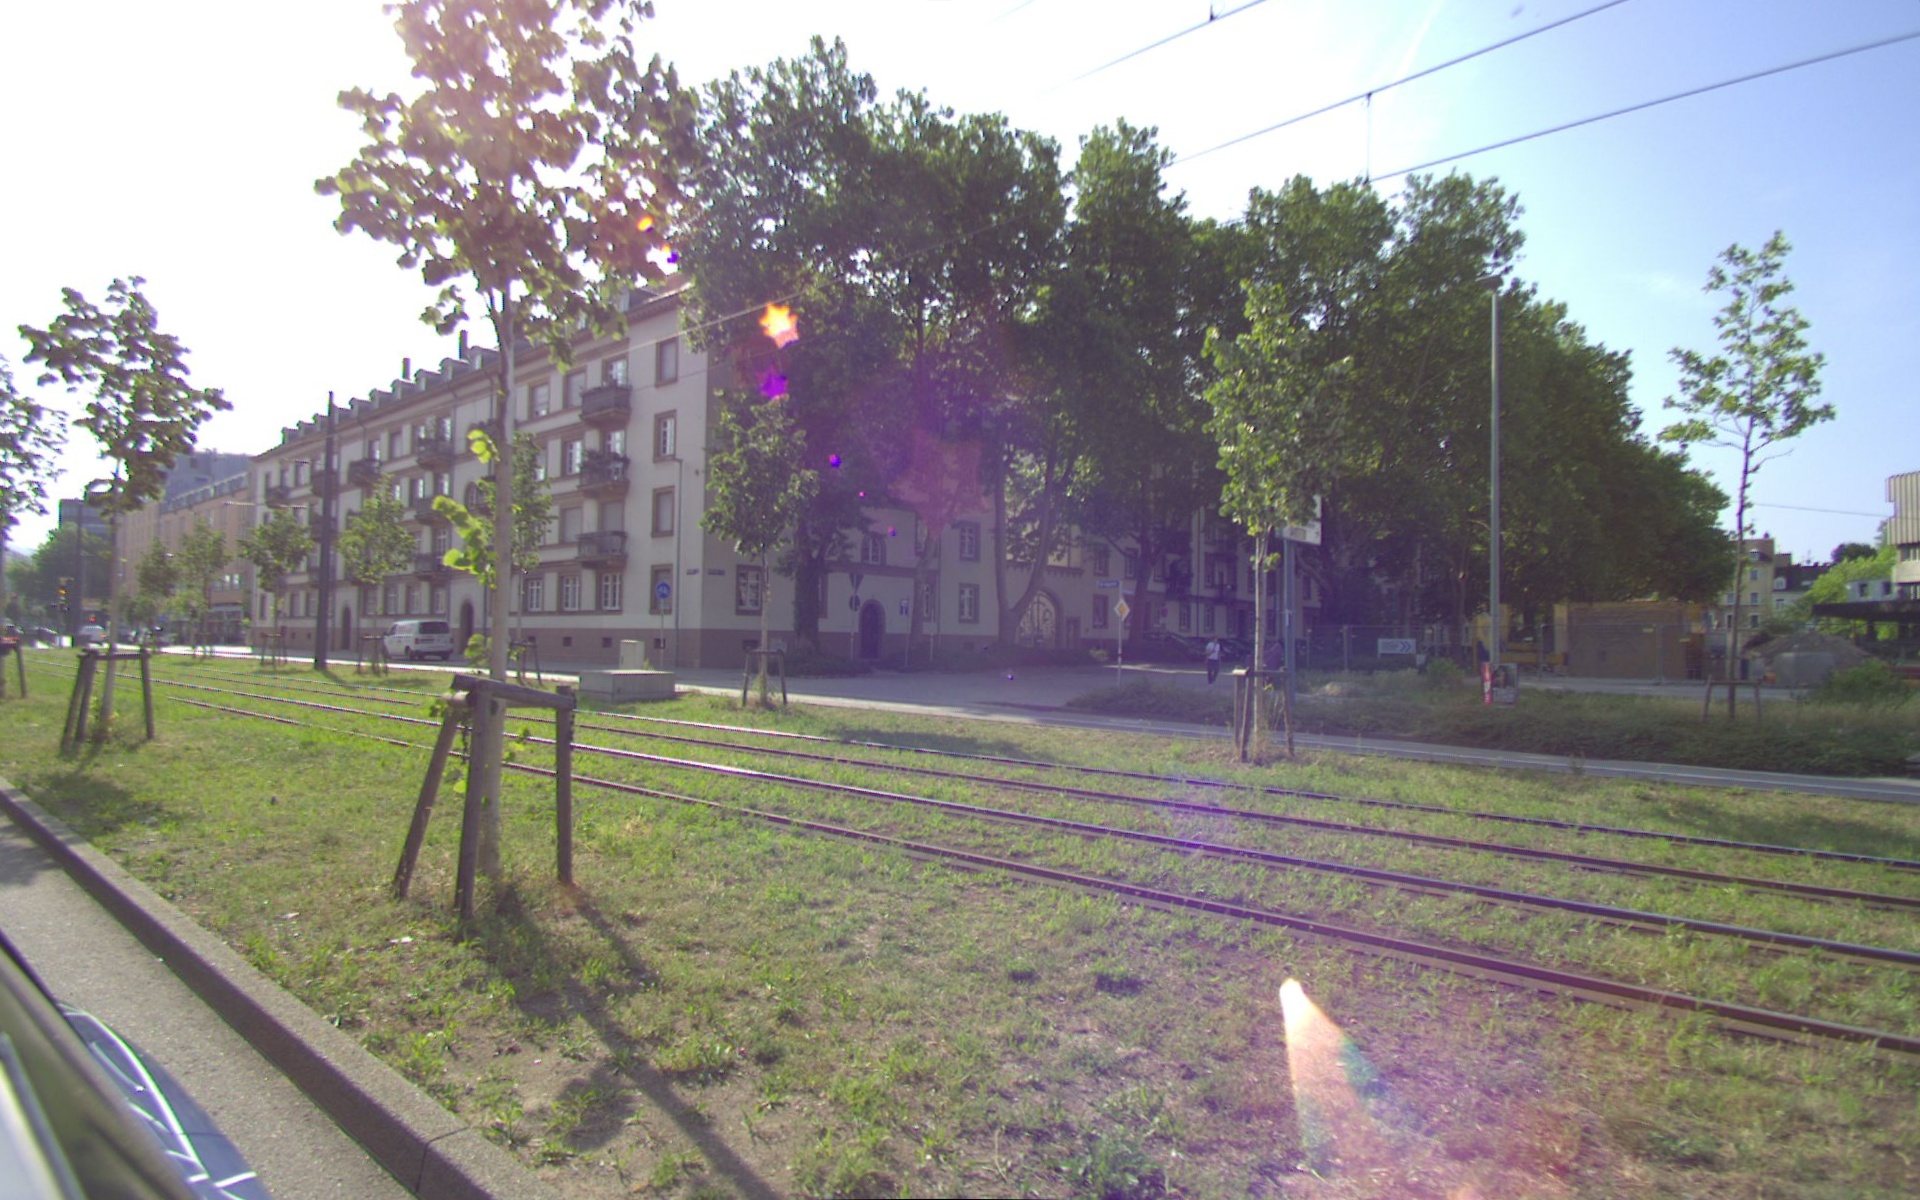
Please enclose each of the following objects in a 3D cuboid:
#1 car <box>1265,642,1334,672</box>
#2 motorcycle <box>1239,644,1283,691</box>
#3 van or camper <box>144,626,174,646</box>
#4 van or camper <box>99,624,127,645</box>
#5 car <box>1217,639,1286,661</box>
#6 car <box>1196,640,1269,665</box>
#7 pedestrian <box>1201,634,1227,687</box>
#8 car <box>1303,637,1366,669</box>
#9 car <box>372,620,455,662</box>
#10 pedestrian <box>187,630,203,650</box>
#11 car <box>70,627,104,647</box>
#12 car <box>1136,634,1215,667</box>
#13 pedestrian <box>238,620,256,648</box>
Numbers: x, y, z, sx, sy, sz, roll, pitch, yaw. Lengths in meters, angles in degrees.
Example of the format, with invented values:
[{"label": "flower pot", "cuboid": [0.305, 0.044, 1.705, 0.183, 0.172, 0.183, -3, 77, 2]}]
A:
[{"label": "car", "cuboid": [17.107, 2.853, 50.925, 1.999, 1.386, 3.946, -1, -3, 40]}, {"label": "motorcycle", "cuboid": [9.426, 2.089, 31.789, 0.807, 1.379, 2.294, 1, -2, 4]}, {"label": "van or camper", "cuboid": [-82.201, 3.718, 103.846, 1.908, 1.983, 4.002, 3, -4, -45]}, {"label": "van or camper", "cuboid": [-116.741, 4.730, 139.488, 5.350, 2.823, 1.973, -1, -4, 41]}, {"label": "car", "cuboid": [19.163, 3.275, 66.599, 3.997, 1.386, 1.875, -1, -3, 41]}, {"label": "car", "cuboid": [17.073, 3.295, 63.503, 3.997, 1.475, 1.851, -1, -3, 41]}, {"label": "pedestrian", "cuboid": [8.160, 1.930, 32.480, 0.673, 1.690, 0.731, 0, -3, 25]}, {"label": "car", "cuboid": [20.342, 2.852, 54.843, 1.999, 1.619, 3.946, -1, -3, 40]}, {"label": "car", "cuboid": [-27.146, 2.000, 50.205, 5.150, 1.933, 1.972, -1, -2, 41]}, {"label": "pedestrian", "cuboid": [-61.241, 3.213, 80.991, 0.678, 1.595, 0.798, -1, -3, 33]}, {"label": "car", "cuboid": [-88.150, 3.709, 102.194, 5.045, 1.909, 1.972, -2, -4, 42]}, {"label": "car", "cuboid": [12.294, 2.856, 57.775, 3.997, 1.763, 1.973, -1, -3, 41]}, {"label": "pedestrian", "cuboid": [-53.877, 2.575, 76.470, 1.156, 2.084, 0.833, -1, -2, 42]}]
